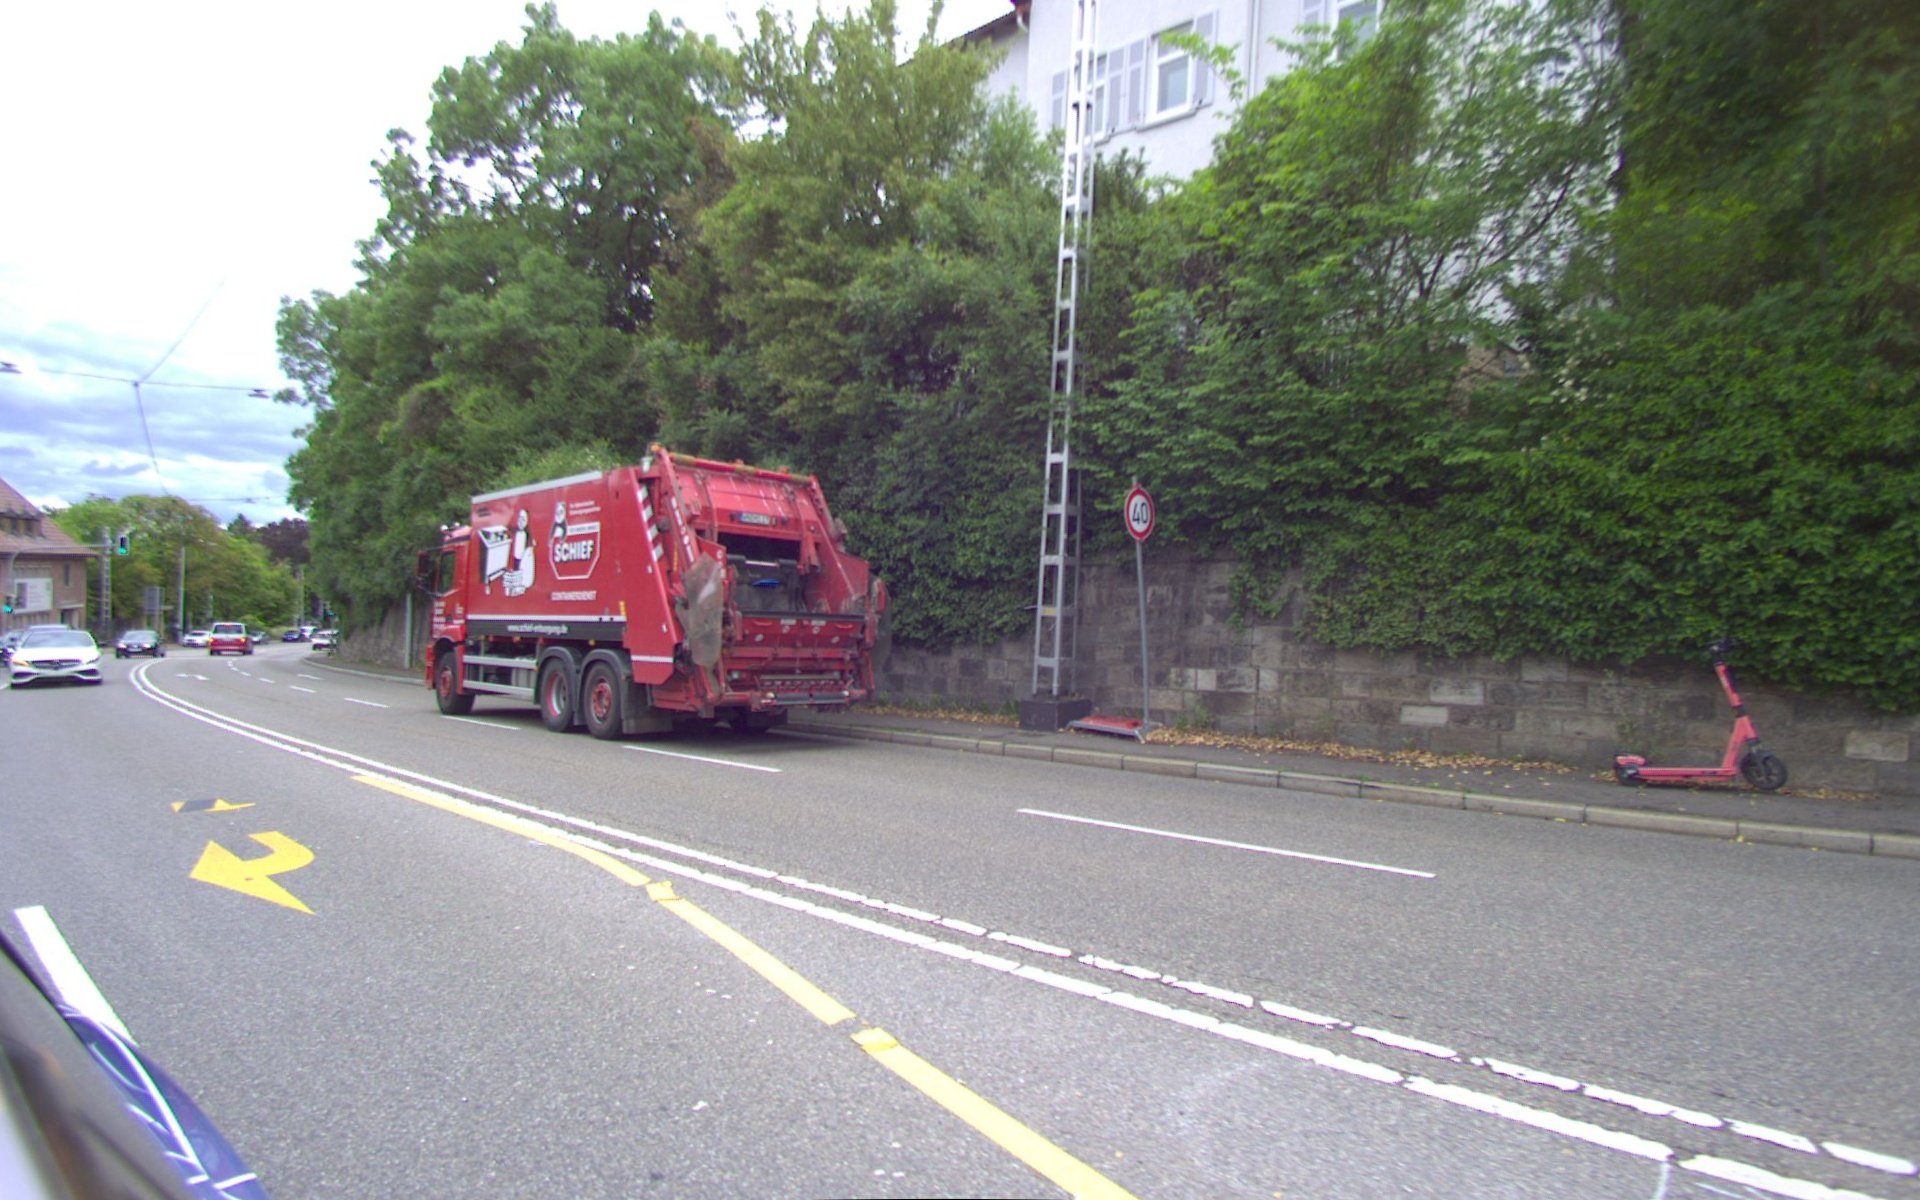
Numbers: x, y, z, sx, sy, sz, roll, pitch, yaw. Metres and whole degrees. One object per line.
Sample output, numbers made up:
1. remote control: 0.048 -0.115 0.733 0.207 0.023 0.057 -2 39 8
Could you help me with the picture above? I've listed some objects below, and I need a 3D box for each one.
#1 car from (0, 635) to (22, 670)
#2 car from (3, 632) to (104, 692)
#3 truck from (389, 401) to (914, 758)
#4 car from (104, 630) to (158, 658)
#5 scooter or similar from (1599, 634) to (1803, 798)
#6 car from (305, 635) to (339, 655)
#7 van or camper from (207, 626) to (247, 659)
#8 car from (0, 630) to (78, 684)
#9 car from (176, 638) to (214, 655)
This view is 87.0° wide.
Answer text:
1. car: -40.013 2.133 41.229 1.966 1.415 4.011 0 -2 -33
2. car: -23.226 1.545 26.027 1.776 1.401 3.533 0 -2 -39
3. truck: -5.174 -0.036 15.033 9.920 3.726 2.912 -2 -4 44
4. car: -43.554 2.305 53.247 1.806 1.387 4.010 2 -3 -34
5. scooter or similar: 6.006 0.902 8.256 1.277 1.214 0.532 -2 0 37
6. car: -51.768 3.649 82.208 1.757 1.478 4.114 3 -4 -25
7. van or camper: -44.905 2.592 62.059 1.864 1.893 4.776 2 -3 -35
8. car: -31.983 1.958 35.086 1.928 1.753 4.007 2 -3 -39
9. car: -68.300 4.153 90.389 1.651 1.472 4.380 3 -3 -24
